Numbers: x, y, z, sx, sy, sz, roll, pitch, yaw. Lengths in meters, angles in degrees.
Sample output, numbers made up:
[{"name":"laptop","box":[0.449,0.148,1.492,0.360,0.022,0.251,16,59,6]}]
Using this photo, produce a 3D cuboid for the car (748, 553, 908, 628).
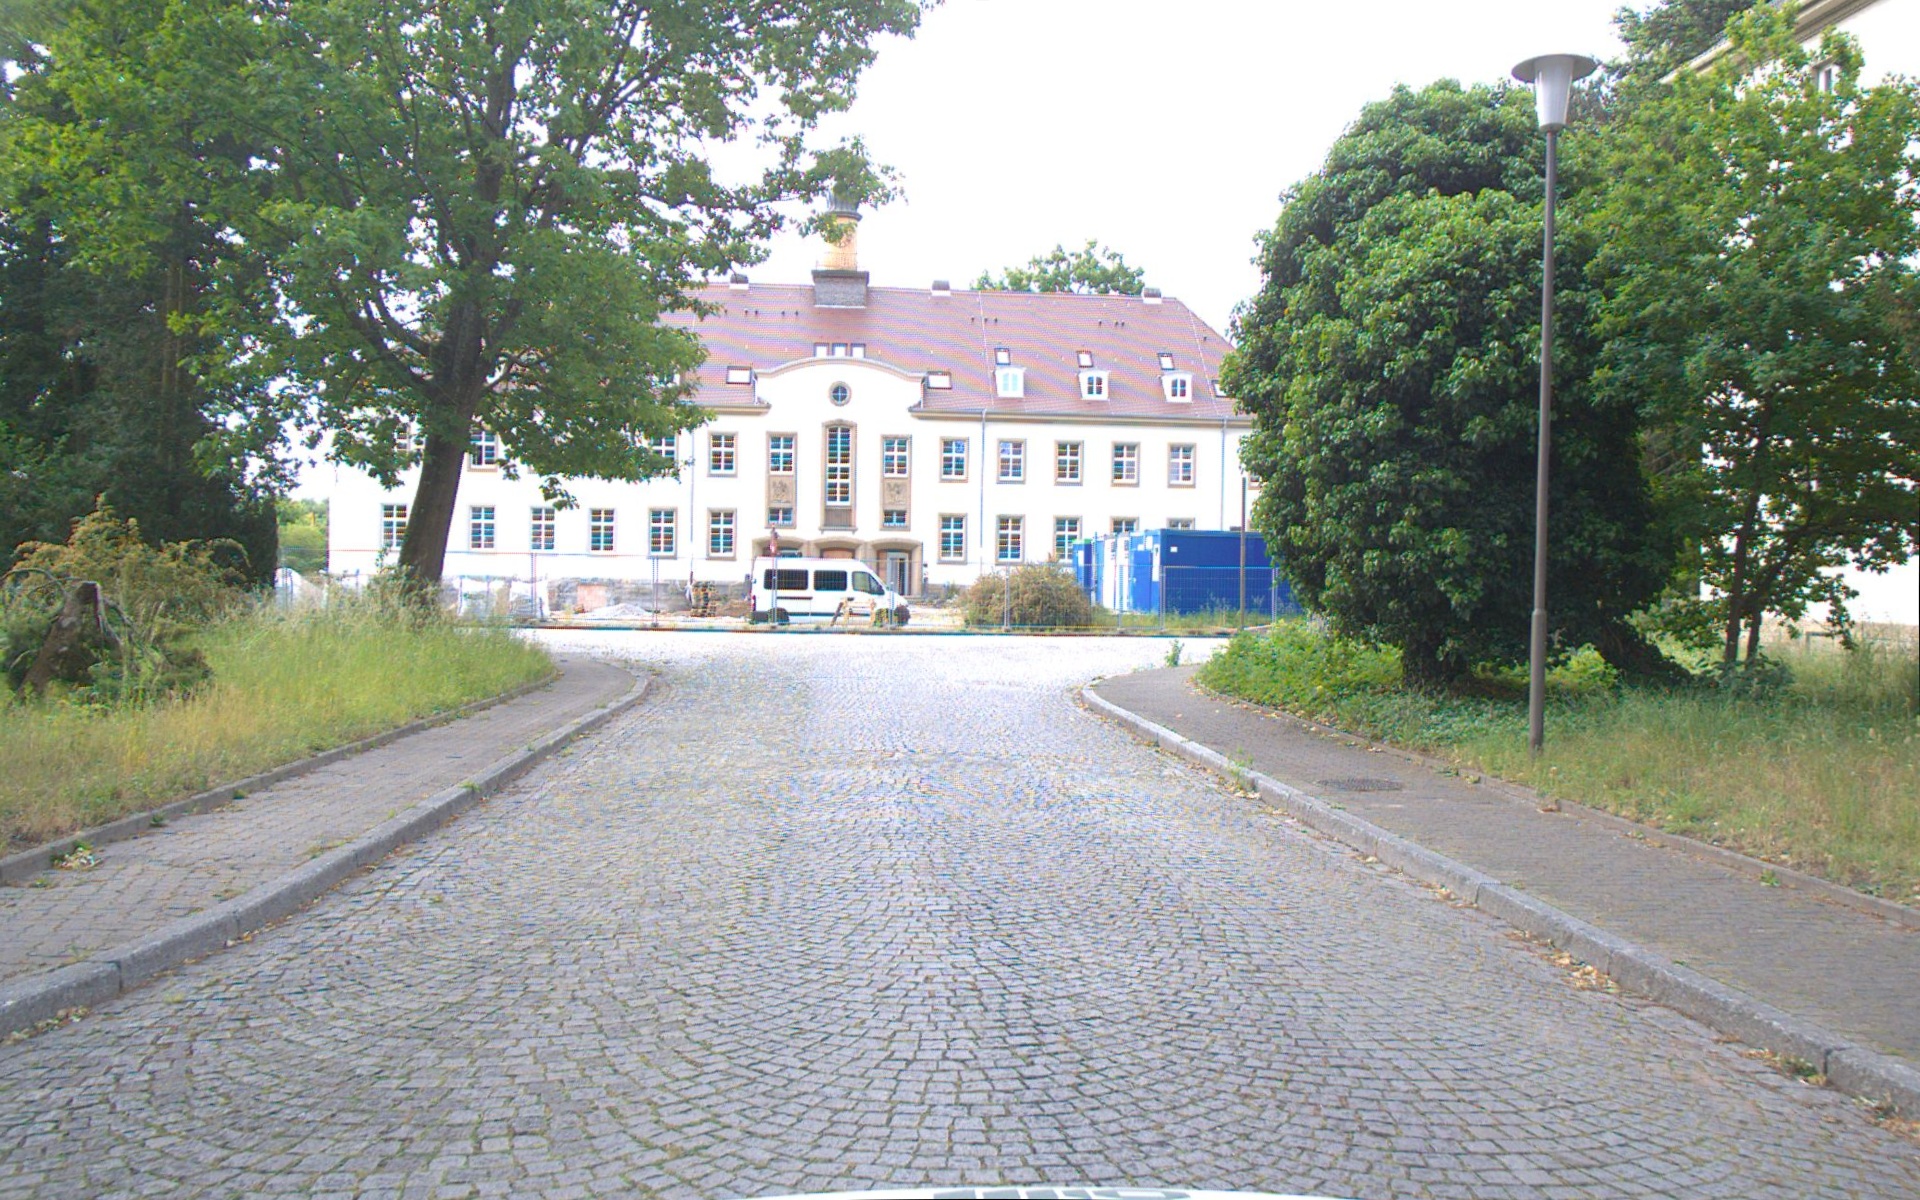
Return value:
[{"name":"car","box":[-4.337,-0.317,54.788,5.158,2.385,1.909,1,0,-4]}]

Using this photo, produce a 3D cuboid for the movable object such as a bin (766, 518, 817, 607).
[{"name":"movable object such as a bin","box":[-7.602,-1.651,74.239,1.956,3.837,5.307,1,1,-9]}]
